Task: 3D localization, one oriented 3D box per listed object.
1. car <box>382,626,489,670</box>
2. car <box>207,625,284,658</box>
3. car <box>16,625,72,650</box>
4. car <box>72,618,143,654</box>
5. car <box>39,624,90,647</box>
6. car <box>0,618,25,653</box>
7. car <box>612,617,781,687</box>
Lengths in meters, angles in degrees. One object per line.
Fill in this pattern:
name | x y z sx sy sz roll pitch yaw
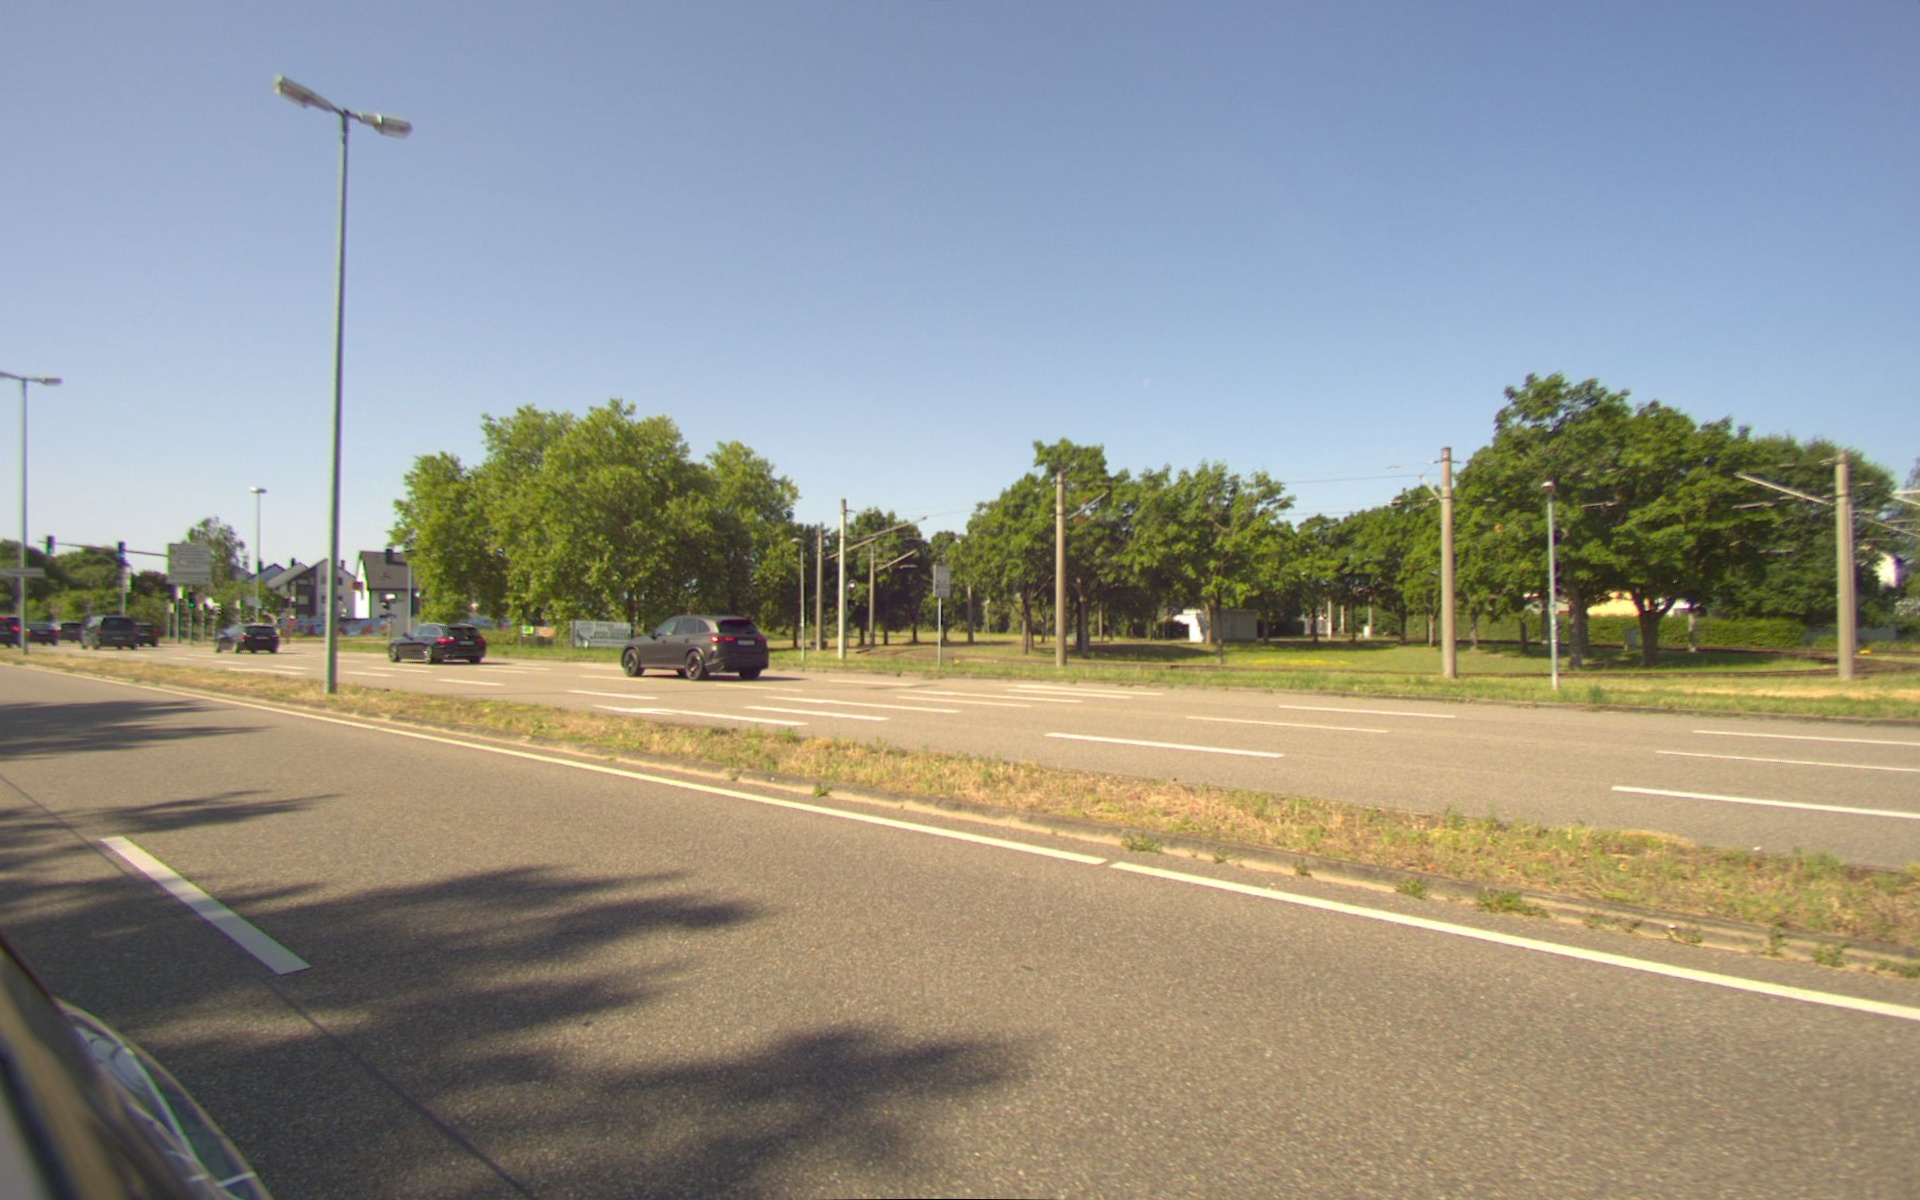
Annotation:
car | -18.931 1.691 36.482 4.464 1.476 1.813 -1 -2 39
car | -34.516 1.984 48.847 4.401 1.557 1.844 -1 -3 39
car | -57.025 2.337 62.991 4.446 1.468 1.961 -1 -4 40
car | -45.072 1.912 53.495 4.483 1.793 1.962 -1 -3 38
car | -66.756 2.634 75.394 4.483 1.635 2.051 -1 -3 38
car | -51.302 1.867 53.560 4.503 1.764 1.962 -1 -4 39
car | -6.910 1.317 26.358 4.551 1.672 1.962 -1 -3 40
